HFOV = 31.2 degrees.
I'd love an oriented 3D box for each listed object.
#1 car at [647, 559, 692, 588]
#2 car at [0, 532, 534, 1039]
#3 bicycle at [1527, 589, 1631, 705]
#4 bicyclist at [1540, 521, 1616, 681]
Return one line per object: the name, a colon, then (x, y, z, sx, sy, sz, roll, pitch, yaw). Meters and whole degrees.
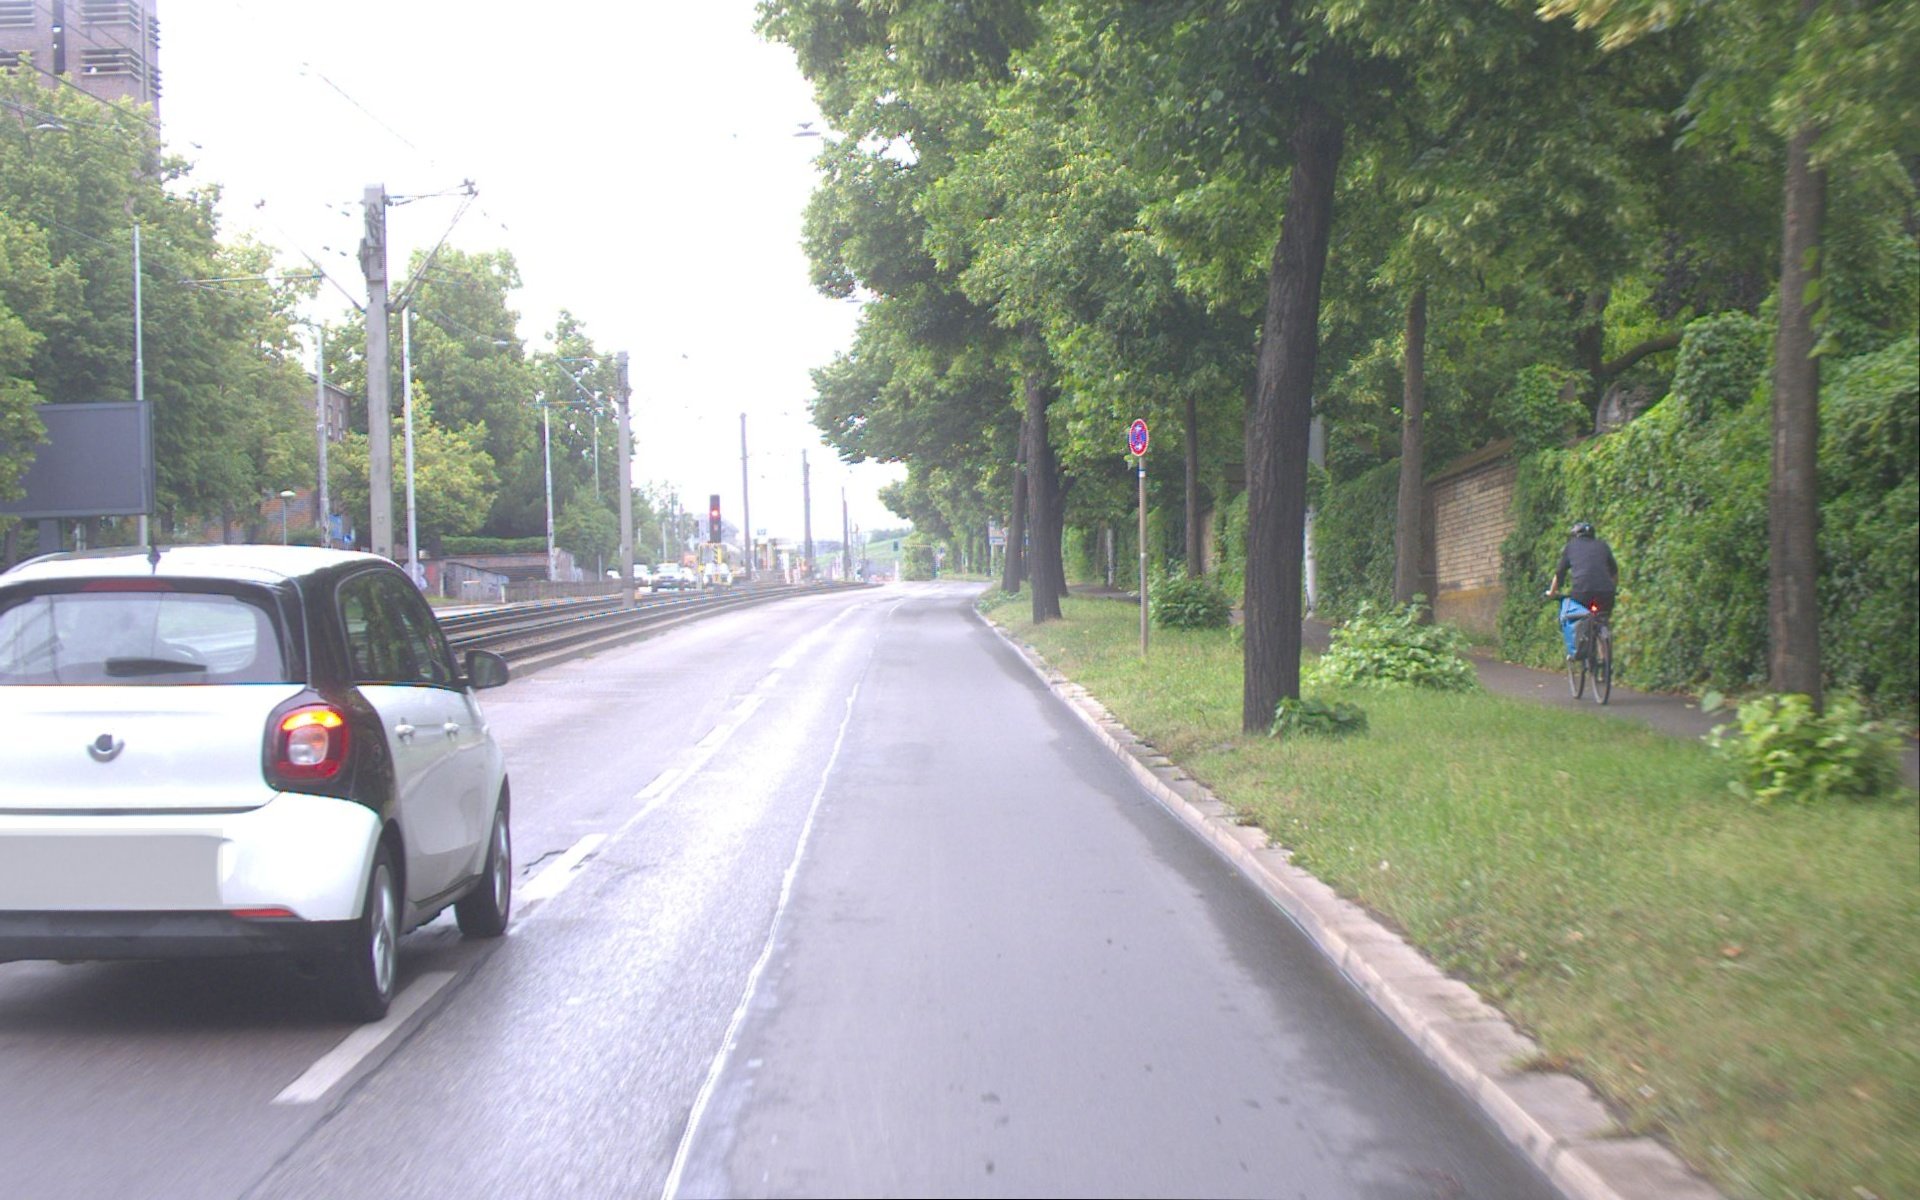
car: (-17.393, -1.606, 206.003, 2.013, 1.650, 4.616, -1, 1, 3)
car: (-2.657, 0.551, 12.371, 1.676, 1.525, 3.721, -1, 1, 1)
bicycle: (5.476, 0.396, 30.506, 0.543, 0.945, 2.549, -2, 1, 3)
bicyclist: (5.457, 0.003, 30.387, 0.535, 1.385, 0.666, -2, 1, 2)
